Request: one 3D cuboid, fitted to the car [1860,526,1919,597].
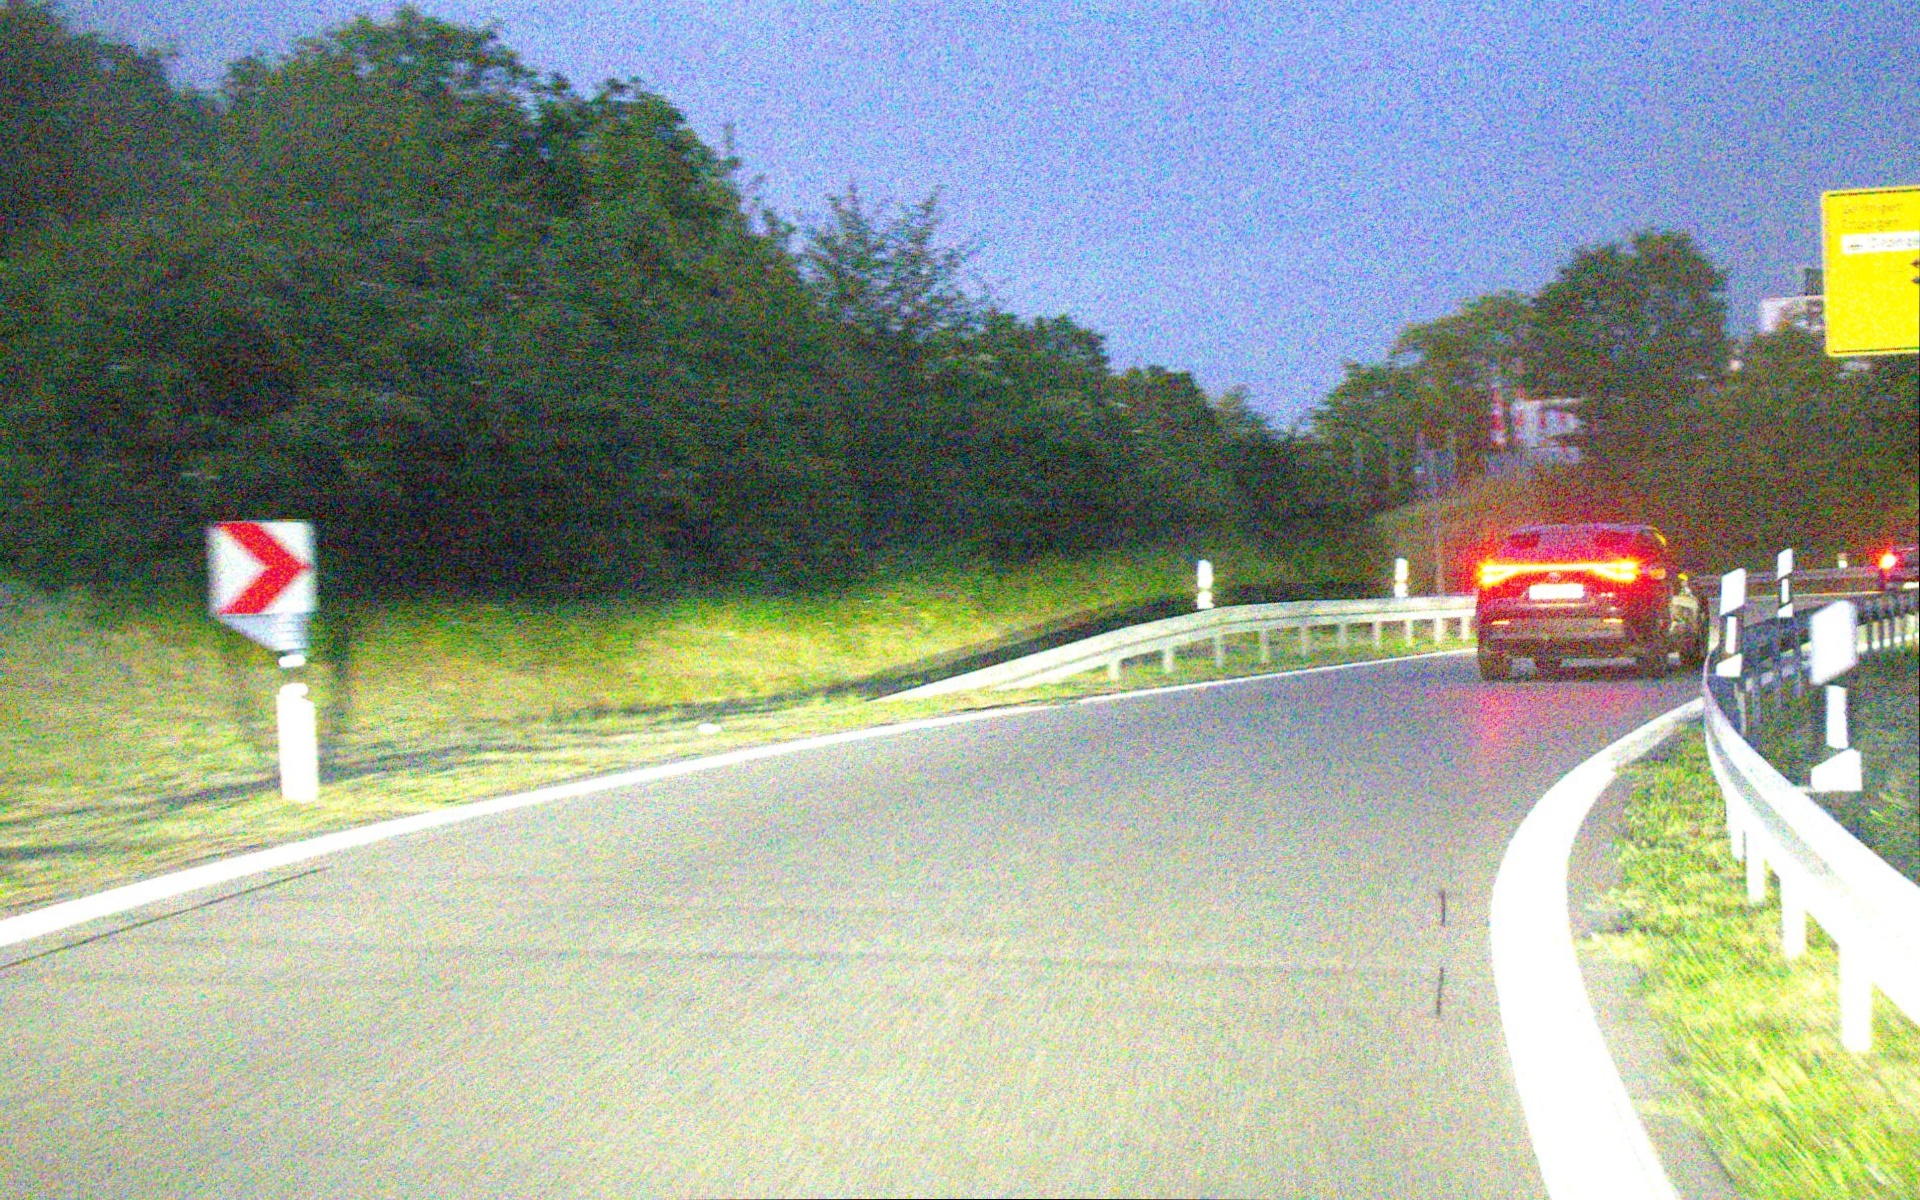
[{"bbox_3d":[21.840,-0.901,78.678,1.996,1.593,3.996,0,1,21],"label":"car"}]

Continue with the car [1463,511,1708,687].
[{"bbox_3d":[6.631,-0.026,36.103,1.995,1.653,4.311,-3,0,17],"label":"car"}]
